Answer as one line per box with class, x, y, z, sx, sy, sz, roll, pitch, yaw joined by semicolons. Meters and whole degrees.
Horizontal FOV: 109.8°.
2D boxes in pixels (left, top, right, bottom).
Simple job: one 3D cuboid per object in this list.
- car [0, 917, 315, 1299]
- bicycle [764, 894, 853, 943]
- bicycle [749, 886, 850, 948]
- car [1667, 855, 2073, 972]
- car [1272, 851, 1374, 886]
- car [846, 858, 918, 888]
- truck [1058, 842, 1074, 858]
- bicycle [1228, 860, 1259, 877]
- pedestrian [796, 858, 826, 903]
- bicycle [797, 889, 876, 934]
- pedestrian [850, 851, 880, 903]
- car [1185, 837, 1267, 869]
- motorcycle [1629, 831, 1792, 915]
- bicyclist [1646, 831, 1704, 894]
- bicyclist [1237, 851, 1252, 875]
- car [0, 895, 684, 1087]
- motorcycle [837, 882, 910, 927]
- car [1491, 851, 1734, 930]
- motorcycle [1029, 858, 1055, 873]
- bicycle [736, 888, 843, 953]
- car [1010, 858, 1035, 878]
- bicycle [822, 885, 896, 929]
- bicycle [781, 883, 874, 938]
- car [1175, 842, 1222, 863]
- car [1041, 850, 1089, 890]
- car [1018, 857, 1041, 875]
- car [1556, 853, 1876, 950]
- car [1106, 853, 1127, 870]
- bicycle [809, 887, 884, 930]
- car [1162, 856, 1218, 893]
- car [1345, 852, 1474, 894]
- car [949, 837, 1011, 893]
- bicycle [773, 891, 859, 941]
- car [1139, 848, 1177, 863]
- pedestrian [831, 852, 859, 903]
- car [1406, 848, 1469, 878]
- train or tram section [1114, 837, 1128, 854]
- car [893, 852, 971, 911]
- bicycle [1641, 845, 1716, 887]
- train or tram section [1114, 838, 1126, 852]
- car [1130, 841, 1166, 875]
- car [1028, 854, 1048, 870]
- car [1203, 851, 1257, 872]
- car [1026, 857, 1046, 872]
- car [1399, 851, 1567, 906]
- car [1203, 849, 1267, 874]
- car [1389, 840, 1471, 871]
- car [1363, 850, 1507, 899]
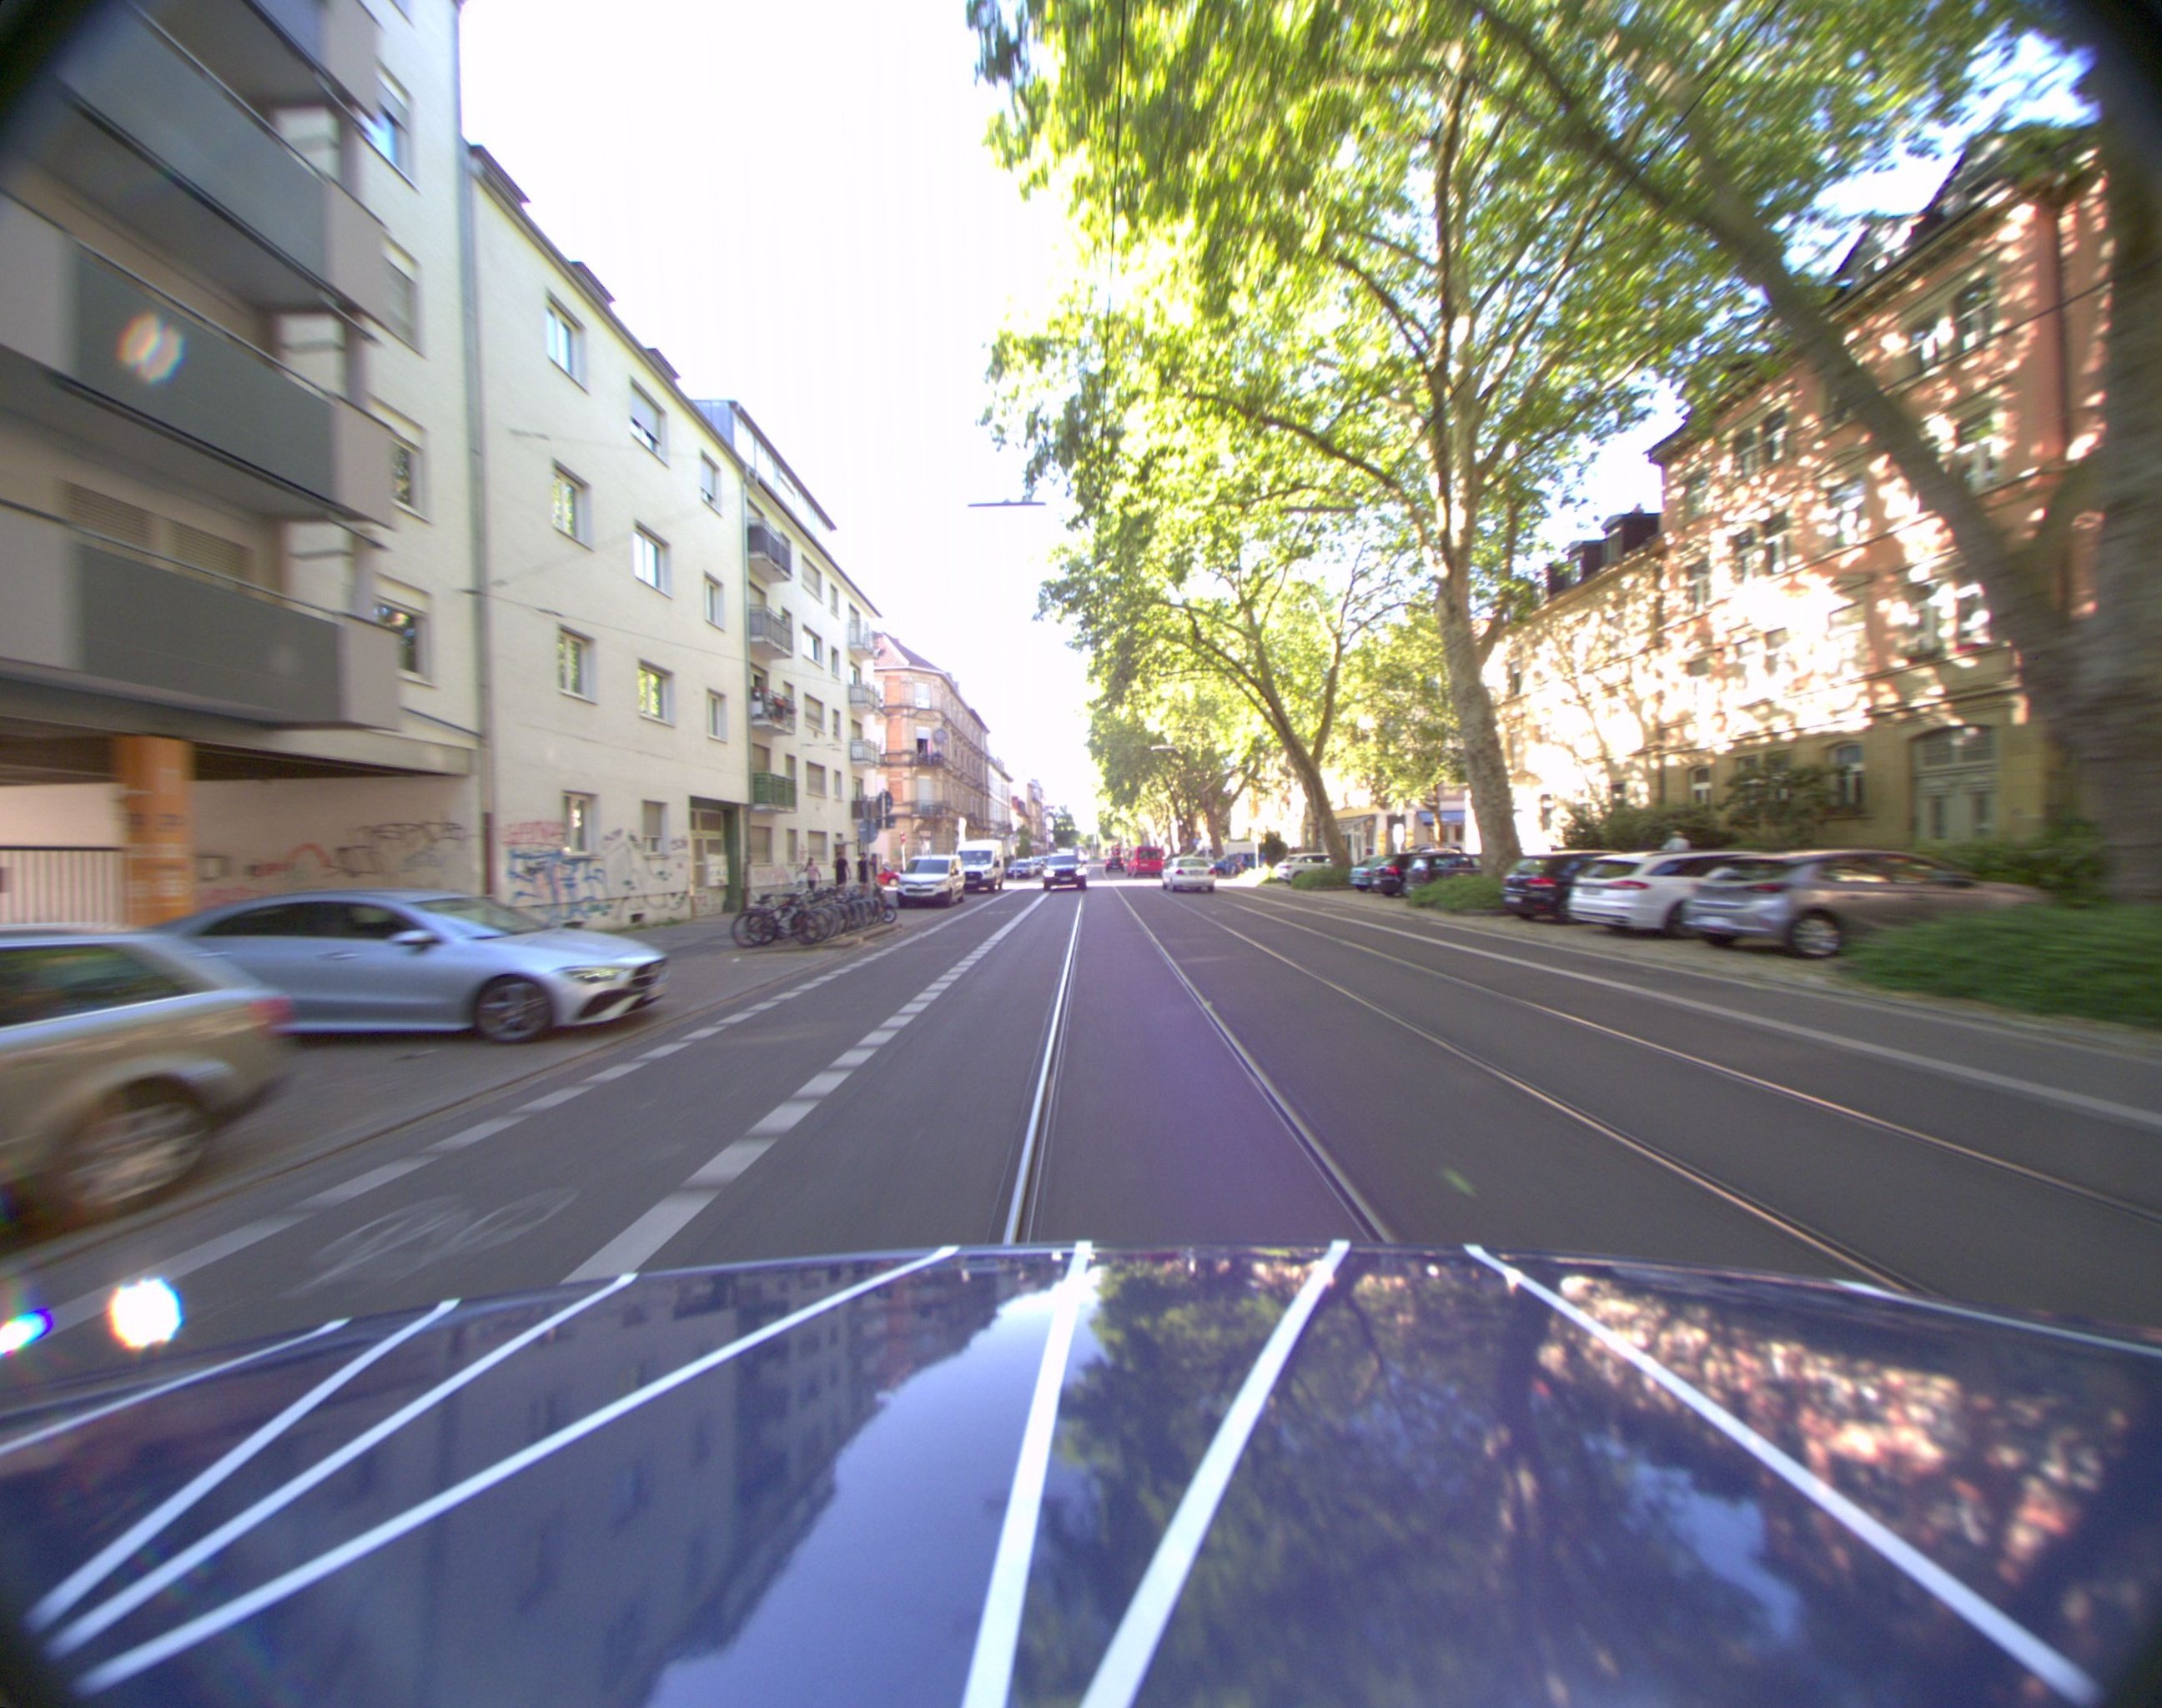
car;-5.529;1.165;2.279;1.728;1.516;4.513;-1;0;3
bicycle;-5.574;1.316;15.583;1.657;0.960;0.457;1;1;1
bicycle;-5.575;1.244;15.100;1.828;1.185;0.457;1;1;1
car;10.831;0.777;10.668;3.817;1.424;1.704;-1;0;3
car;10.937;0.627;34.526;3.997;1.452;1.879;-1;0;0
car;-11.824;1.112;45.294;3.658;1.565;1.790;-3;1;3
truck;-3.152;-0.972;161.227;2.842;3.145;7.291;-3;1;1
bicycle;10.539;0.948;49.271;1.873;1.025;0.629;-1;1;17
pedestrian;-9.934;0.951;27.937;0.633;1.572;0.933;4;2;3
bicycle;-5.617;1.313;17.492;1.657;0.981;0.457;1;1;1
pedestrian;-7.820;0.817;27.563;0.711;1.812;1.082;0;1;3
car;12.479;-0.102;65.687;6.618;2.393;2.000;-3;0;1
motorcycle;13.640;0.354;16.654;1.054;1.622;3.011;-3;1;1
bicyclist;16.992;0.235;21.769;0.832;1.753;1.048;-1;1;1
bicyclist;10.609;0.575;49.277;0.867;1.517;0.737;-1;1;18
car;-6.746;1.189;7.511;4.629;1.429;1.863;0;0;-10
motorcycle;-5.365;1.293;19.598;1.820;1.074;0.618;0;1;24
car;10.891;0.718;15.771;3.802;1.452;1.704;-1;1;2
motorcycle;-3.484;1.042;68.174;2.143;1.281;0.642;-2;1;-21
bicycle;-5.596;1.263;14.624;1.897;1.185;0.457;1;1;1
car;-4.511;1.029;58.742;1.653;1.412;4.059;1;1;-1
bicycle;-5.448;1.295;18.685;1.657;1.049;0.457;1;1;1
bicycle;-5.563;1.239;16.755;1.798;1.141;0.704;1;1;1
car;12.398;-0.176;80.271;4.637;1.896;1.922;-3;0;4
car;-0.695;0.748;36.551;1.948;1.694;4.631;-2;-1;3
car;-4.346;0.955;64.302;1.606;1.412;4.013;1;1;1
car;10.835;0.771;13.203;3.996;1.487;1.830;-1;1;2
car;3.360;0.661;72.119;1.722;1.501;3.722;-1;0;0
bicycle;-5.587;1.293;18.125;1.657;0.981;0.457;1;1;1
car;4.456;0.791;31.636;1.722;1.351;4.469;-1;0;0
car;11.917;0.668;27.695;3.998;1.361;1.604;-1;1;-5
car;-4.922;0.480;37.850;2.154;2.481;6.087;-2;1;1
bicycle;-5.602;1.309;16.101;1.657;1.015;0.457;1;1;1
car;9.335;0.143;92.478;4.365;1.603;2.000;-3;0;1
pedestrian;-8.615;0.858;27.784;0.626;1.812;1.082;0;1;3
car;18.637;0.440;39.874;1.603;1.452;3.488;-1;0;-2
train or tram section;9.416;-2.059;179.508;2.944;3.598;11.062;-3;1;2
car;-5.260;0.920;27.405;1.863;1.810;4.350;2;1;0
bicycle;17.057;0.319;21.749;0.744;1.132;1.780;-1;0;1
train or tram section;10.301;-2.423;202.515;2.944;3.598;12.410;-3;1;2
car;4.606;0.279;53.202;1.922;2.214;4.959;-1;0;-1
car;-4.217;0.757;75.729;1.610;1.444;3.741;1;1;2
car;11.515;0.555;58.965;3.779;1.509;1.747;-1;1;-2
car;-4.189;0.967;71.062;1.653;1.265;3.724;1;1;1
car;11.650;0.687;22.210;3.996;1.452;1.704;-1;1;3
car;11.399;0.561;56.305;4.331;1.702;1.816;-1;1;-2
car;23.427;0.059;51.130;4.581;1.870;2.129;-1;3;7
car;11.612;0.646;25.039;4.000;1.452;1.769;-1;1;-8
